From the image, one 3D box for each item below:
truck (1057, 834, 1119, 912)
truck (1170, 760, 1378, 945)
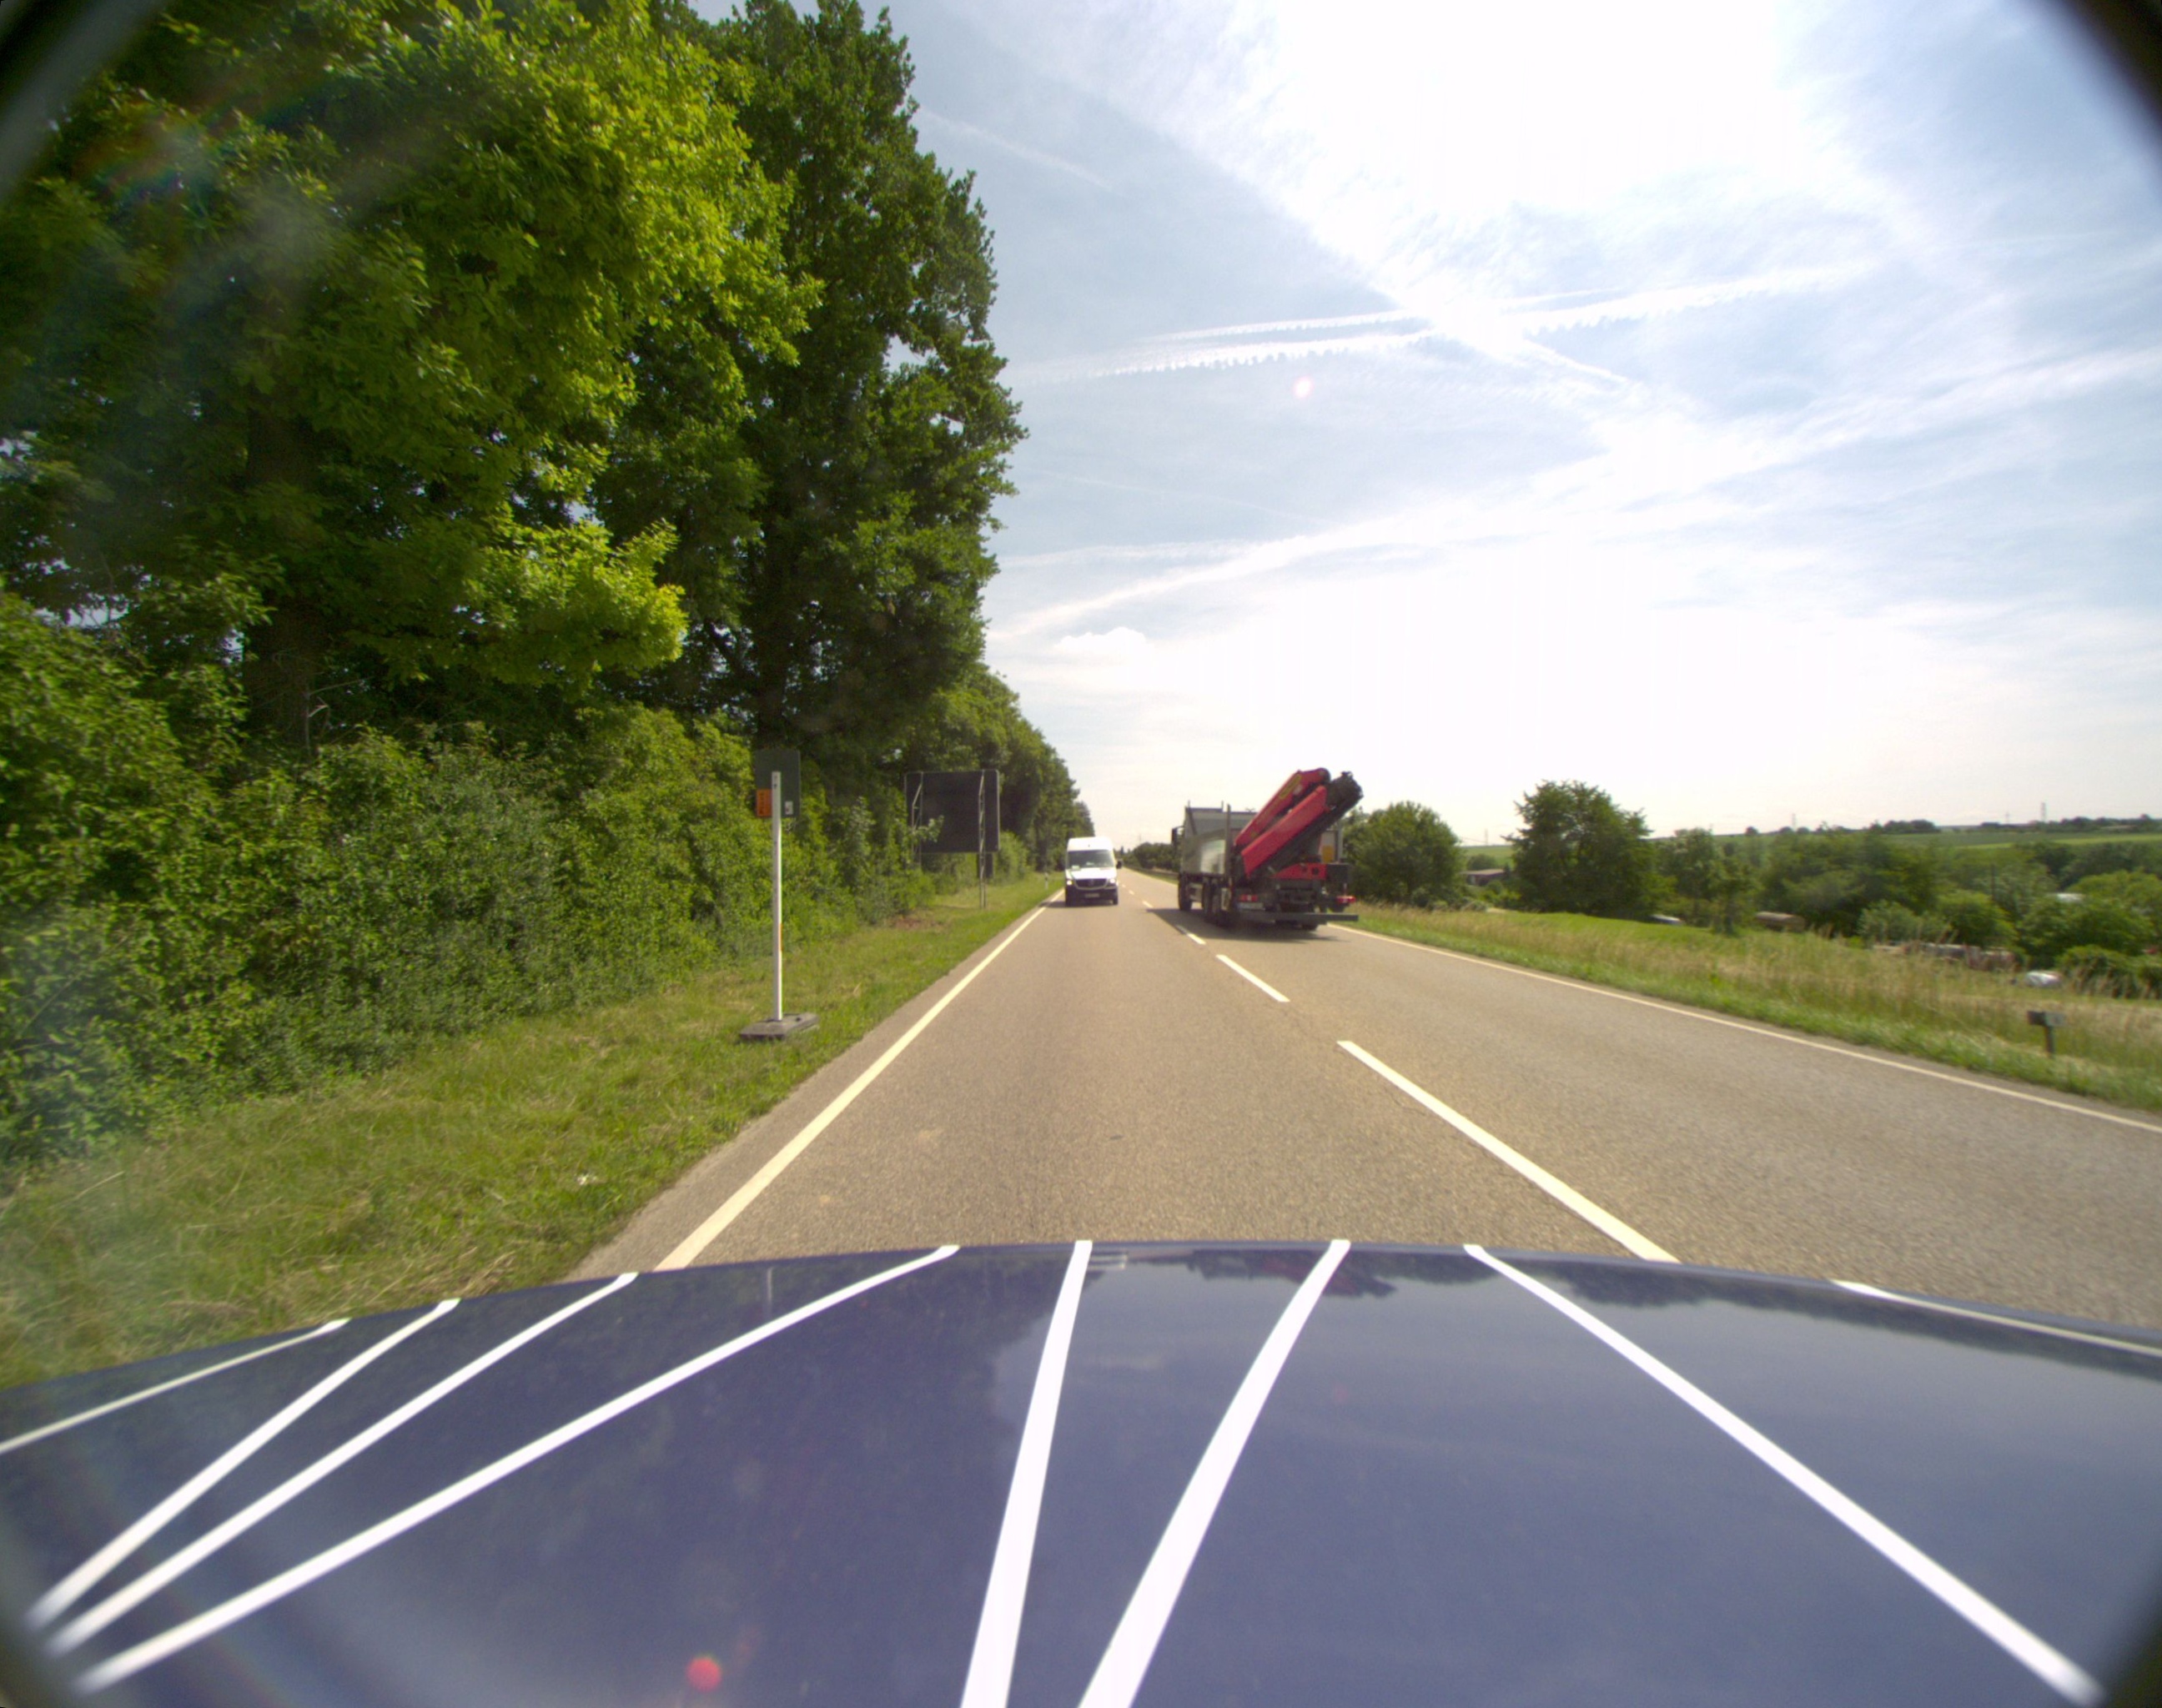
[{"bbox_3d":[0.420,0.660,29.334,2.022,2.567,7.227,-2,0,3],"label":"truck"},{"bbox_3d":[4.444,0.044,20.454,2.763,3.555,11.066,1,-1,0],"label":"truck"}]
